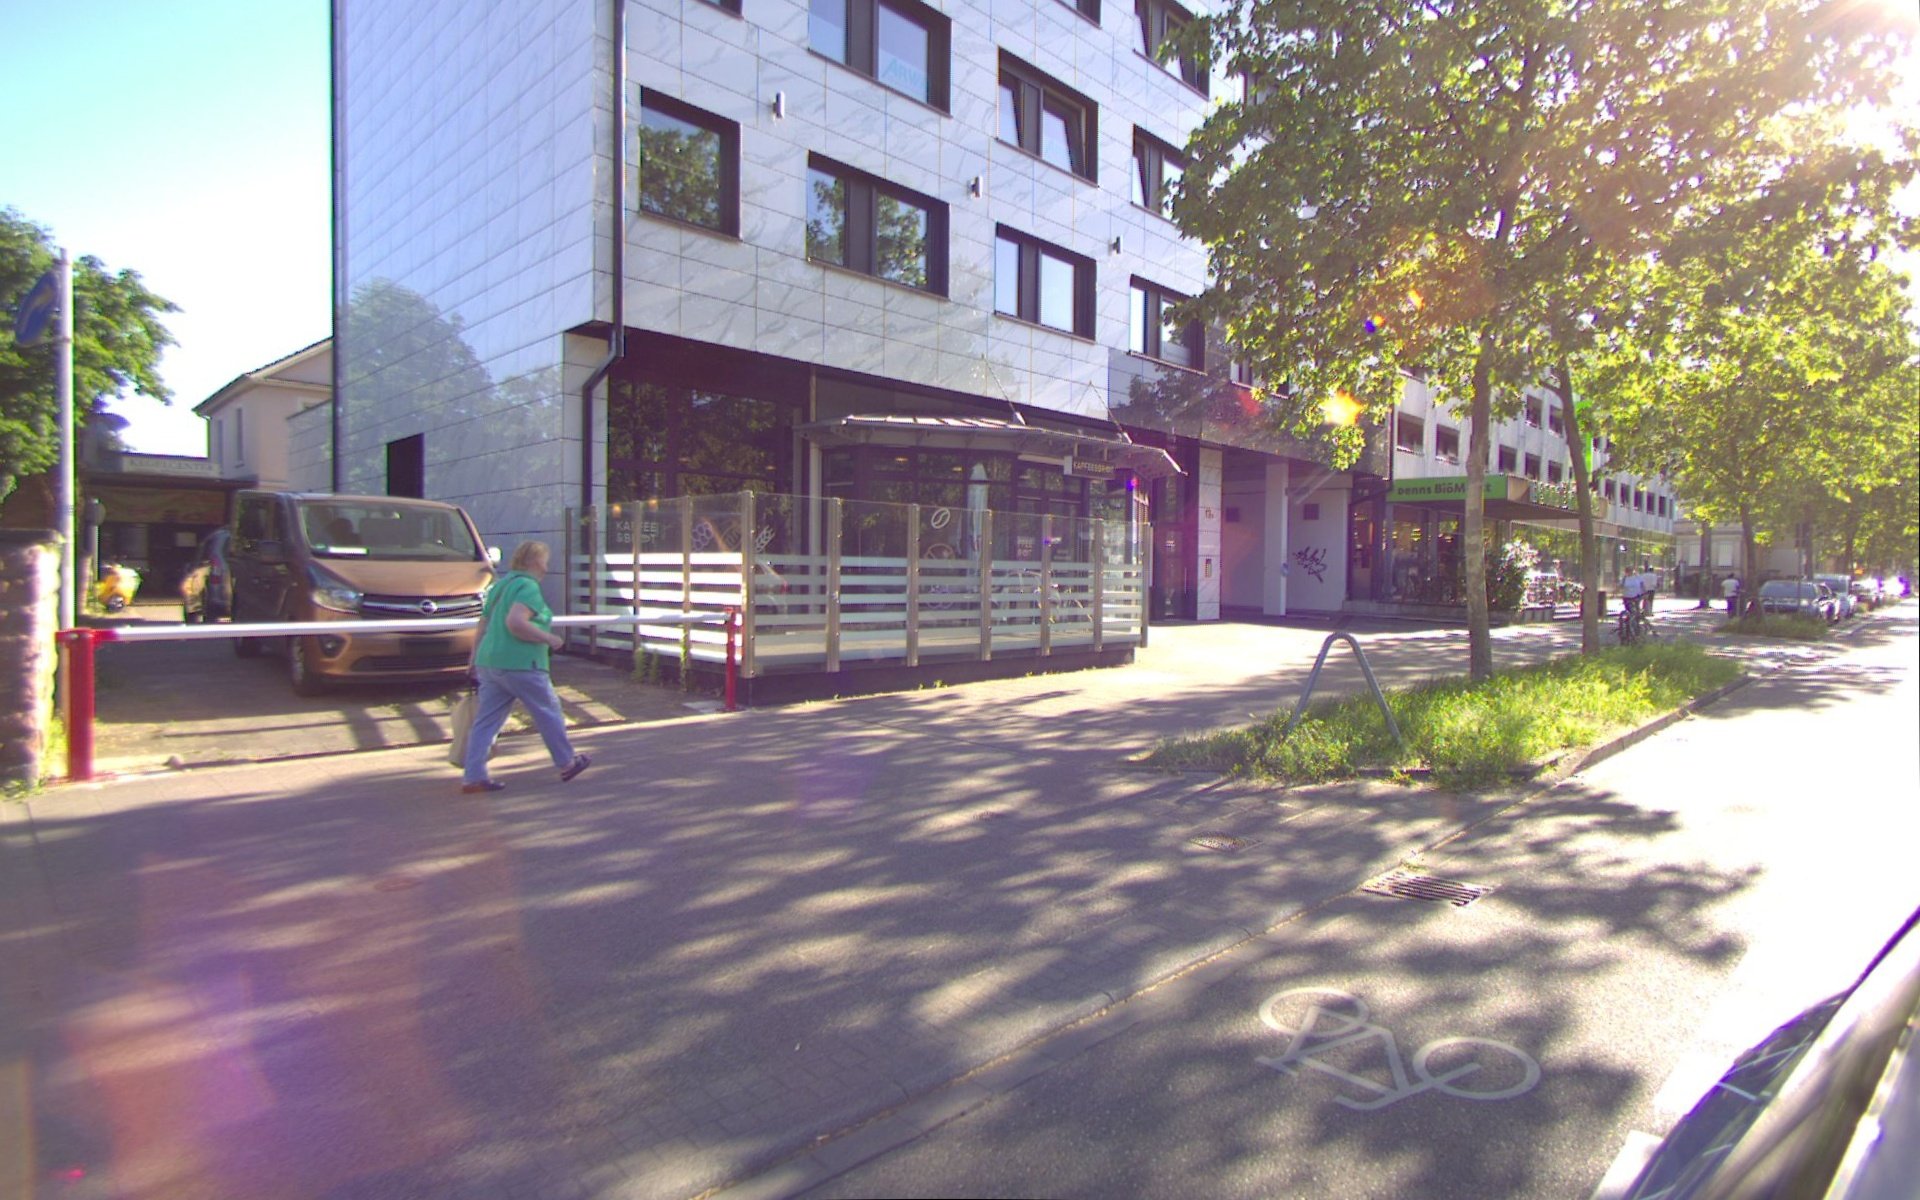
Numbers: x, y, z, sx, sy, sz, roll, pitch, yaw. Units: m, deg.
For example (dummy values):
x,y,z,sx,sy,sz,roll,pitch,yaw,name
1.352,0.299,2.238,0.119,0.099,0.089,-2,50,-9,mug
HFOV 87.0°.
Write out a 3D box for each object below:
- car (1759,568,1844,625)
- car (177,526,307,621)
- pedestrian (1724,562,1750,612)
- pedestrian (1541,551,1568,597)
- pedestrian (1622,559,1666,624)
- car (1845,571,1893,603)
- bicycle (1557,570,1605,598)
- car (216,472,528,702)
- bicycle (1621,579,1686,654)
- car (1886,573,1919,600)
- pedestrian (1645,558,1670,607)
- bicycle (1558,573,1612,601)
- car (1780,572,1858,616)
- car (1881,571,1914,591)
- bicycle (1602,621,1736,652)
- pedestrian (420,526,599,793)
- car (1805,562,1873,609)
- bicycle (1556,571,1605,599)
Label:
x,y,z,sx,sy,sz,roll,pitch,yaw,name
24.956,-0.163,29.971,3.935,1.569,1.566,-2,2,-45,car
-14.216,-0.564,19.972,1.568,1.692,3.613,-1,3,-44,car
26.980,-0.461,35.147,0.560,1.725,1.035,3,3,44,pedestrian
23.597,-1.053,40.188,0.606,1.735,0.609,7,5,20,pedestrian
17.834,-0.226,26.396,0.853,1.632,0.699,-1,4,-43,pedestrian
47.101,-0.700,52.431,1.674,1.455,3.633,5,5,44,car
26.181,-0.671,42.667,0.573,1.068,1.710,1,4,-18,bicycle
-6.701,-0.312,11.232,1.882,2.008,4.903,-1,5,-44,car
11.495,0.236,16.818,0.785,1.147,1.825,2,2,32,bicycle
55.313,-0.811,59.124,1.627,1.459,3.867,4,4,45,car
25.389,-0.638,36.848,0.560,1.766,0.864,3,3,45,pedestrian
23.235,-0.492,37.639,0.573,0.927,1.657,4,2,-18,bicycle
29.849,-0.248,35.123,1.762,1.435,4.626,1,2,44,car
75.817,-1.580,81.801,1.835,1.584,4.205,1,2,45,car
11.702,0.584,16.715,1.366,0.357,1.610,-2,3,-45,bicycle
-2.855,0.336,6.492,0.726,1.594,0.831,1,2,7,pedestrian
36.349,-0.629,41.806,4.322,1.814,1.765,-1,3,-45,car
25.602,-0.631,41.786,0.573,1.068,1.710,2,3,-18,bicycle
